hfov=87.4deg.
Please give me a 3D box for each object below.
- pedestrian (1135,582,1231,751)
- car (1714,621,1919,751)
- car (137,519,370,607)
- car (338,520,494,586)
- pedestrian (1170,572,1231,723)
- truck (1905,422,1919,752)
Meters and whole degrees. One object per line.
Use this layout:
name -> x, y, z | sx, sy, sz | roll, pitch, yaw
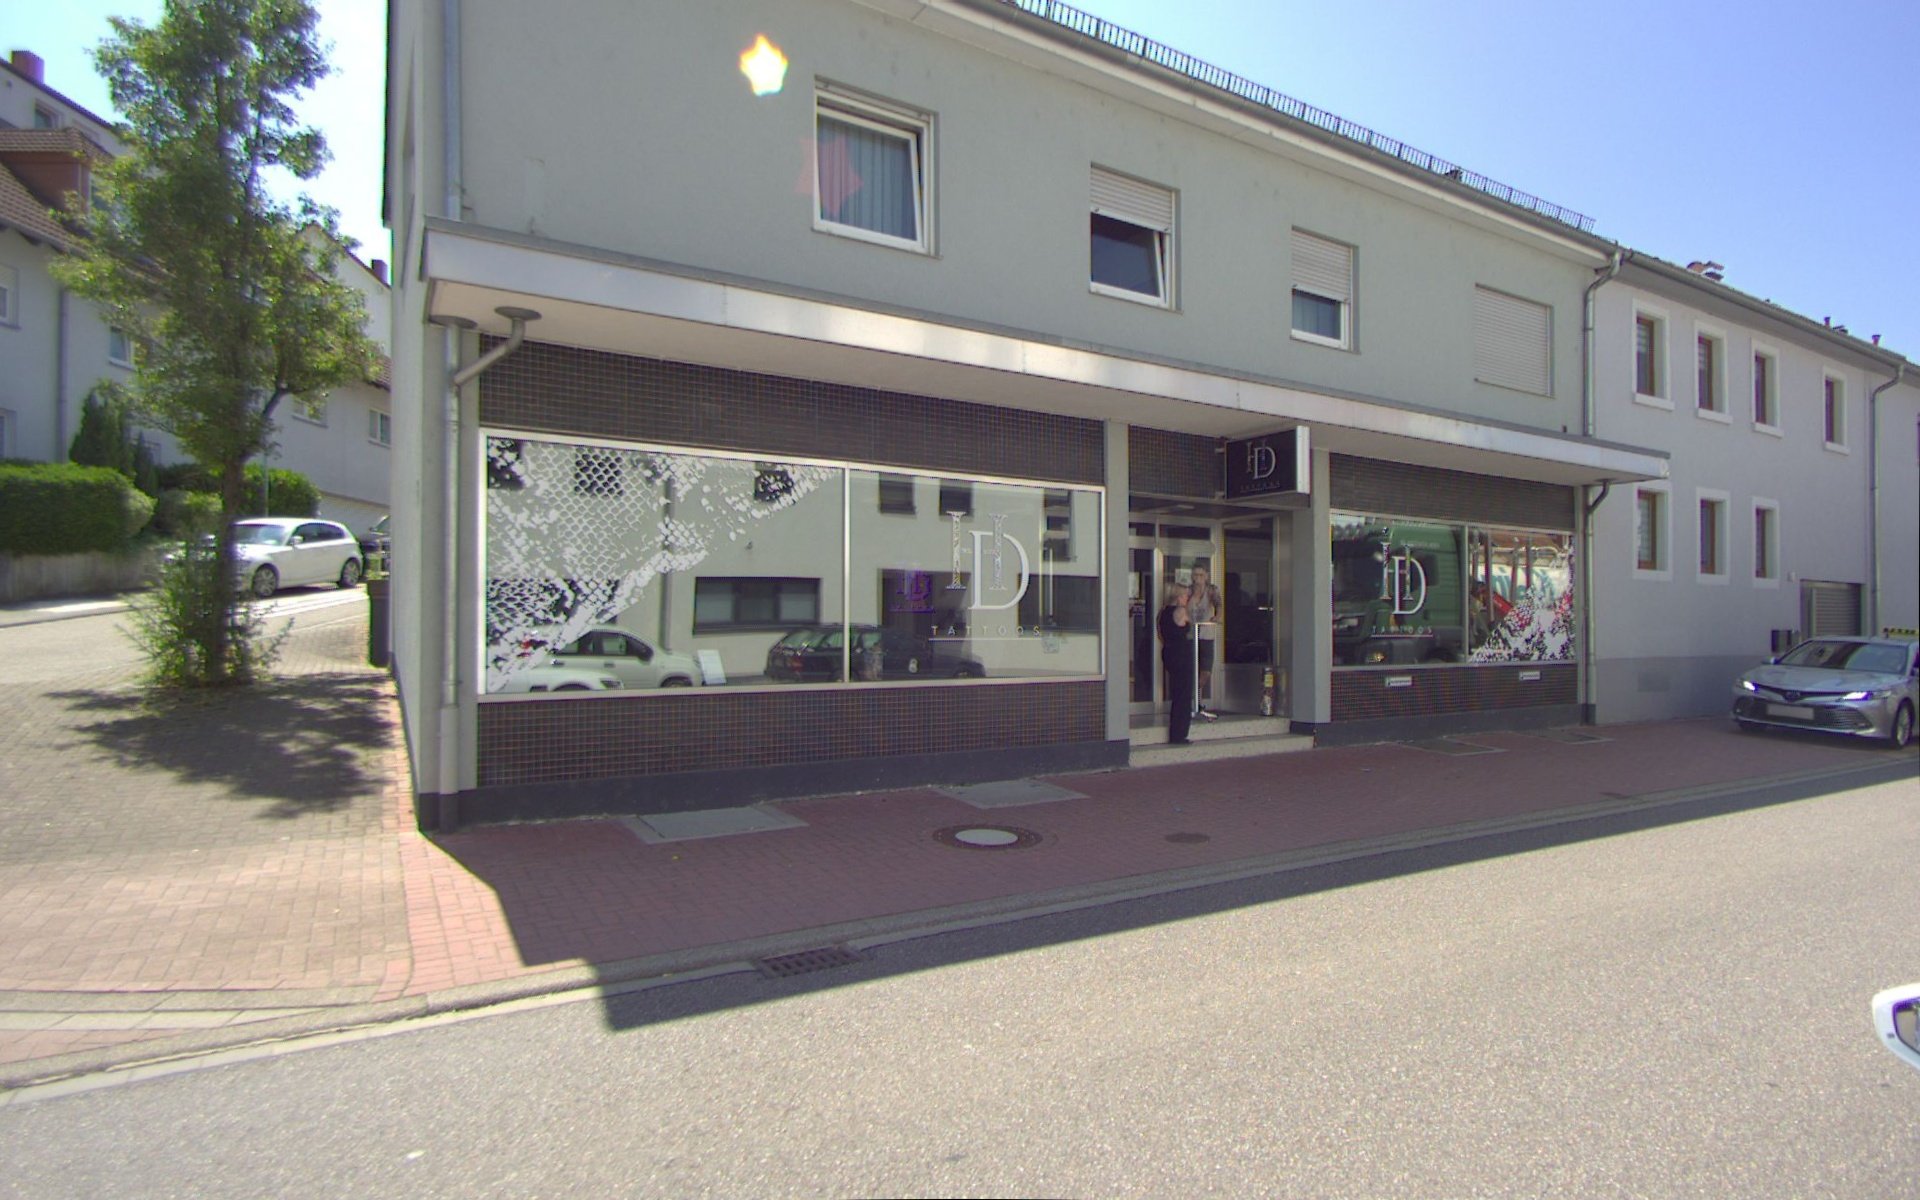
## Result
pedestrian -> 2.359, 0.682, 10.644 | 0.762, 1.707, 0.621 | 1, -1, -32
car -> 13.148, 1.151, 14.707 | 4.512, 1.578, 1.799 | 1, 1, -31
car -> -13.605, -0.799, 19.681 | 1.809, 1.426, 3.920 | 2, 6, -1
car -> -13.542, -1.246, 25.296 | 1.809, 1.426, 3.920 | 2, 6, -1
pedestrian -> 2.876, 0.552, 12.040 | 0.618, 1.736, 0.666 | 2, 0, 10
truck -> 14.866, -0.074, 12.617 | 6.775, 4.037, 2.605 | 1, -3, -32
